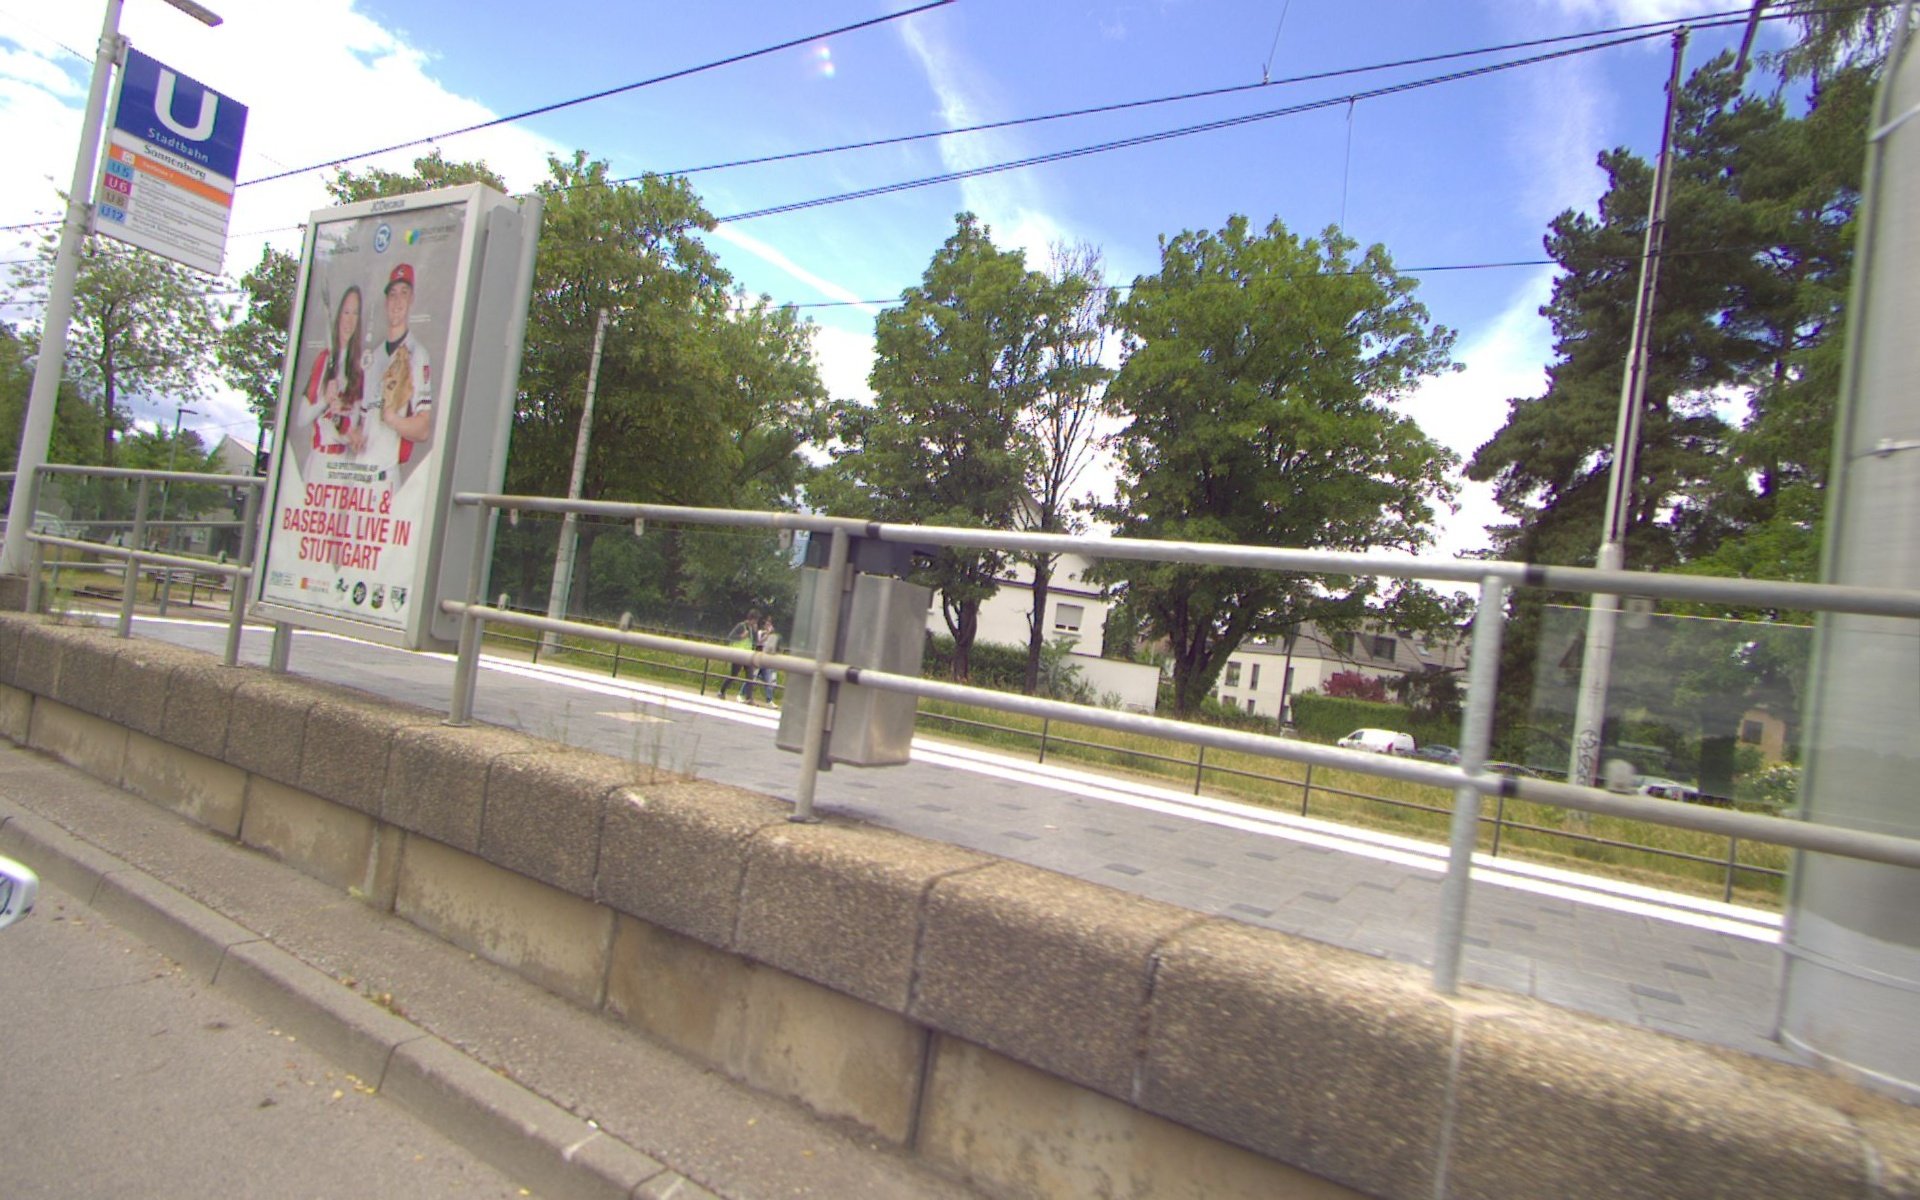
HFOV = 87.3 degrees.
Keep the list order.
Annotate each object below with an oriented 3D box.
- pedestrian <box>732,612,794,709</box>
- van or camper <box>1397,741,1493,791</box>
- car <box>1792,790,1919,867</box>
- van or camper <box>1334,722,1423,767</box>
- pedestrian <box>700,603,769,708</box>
[{"bbox_3d":[-3.403,1.051,17.401,0.680,1.578,0.494,7,-3,29],"label":"pedestrian"},{"bbox_3d":[24.115,8.233,50.160,1.971,1.668,4.048,9,-3,-17],"label":"van or camper"},{"bbox_3d":[24.530,6.098,26.361,1.787,1.455,3.951,11,-4,-43],"label":"car"},{"bbox_3d":[22.725,7.823,54.821,1.973,1.668,4.316,9,-4,-19],"label":"van or camper"},{"bbox_3d":[-3.745,0.922,16.723,0.777,1.640,0.494,7,-3,29],"label":"pedestrian"}]
